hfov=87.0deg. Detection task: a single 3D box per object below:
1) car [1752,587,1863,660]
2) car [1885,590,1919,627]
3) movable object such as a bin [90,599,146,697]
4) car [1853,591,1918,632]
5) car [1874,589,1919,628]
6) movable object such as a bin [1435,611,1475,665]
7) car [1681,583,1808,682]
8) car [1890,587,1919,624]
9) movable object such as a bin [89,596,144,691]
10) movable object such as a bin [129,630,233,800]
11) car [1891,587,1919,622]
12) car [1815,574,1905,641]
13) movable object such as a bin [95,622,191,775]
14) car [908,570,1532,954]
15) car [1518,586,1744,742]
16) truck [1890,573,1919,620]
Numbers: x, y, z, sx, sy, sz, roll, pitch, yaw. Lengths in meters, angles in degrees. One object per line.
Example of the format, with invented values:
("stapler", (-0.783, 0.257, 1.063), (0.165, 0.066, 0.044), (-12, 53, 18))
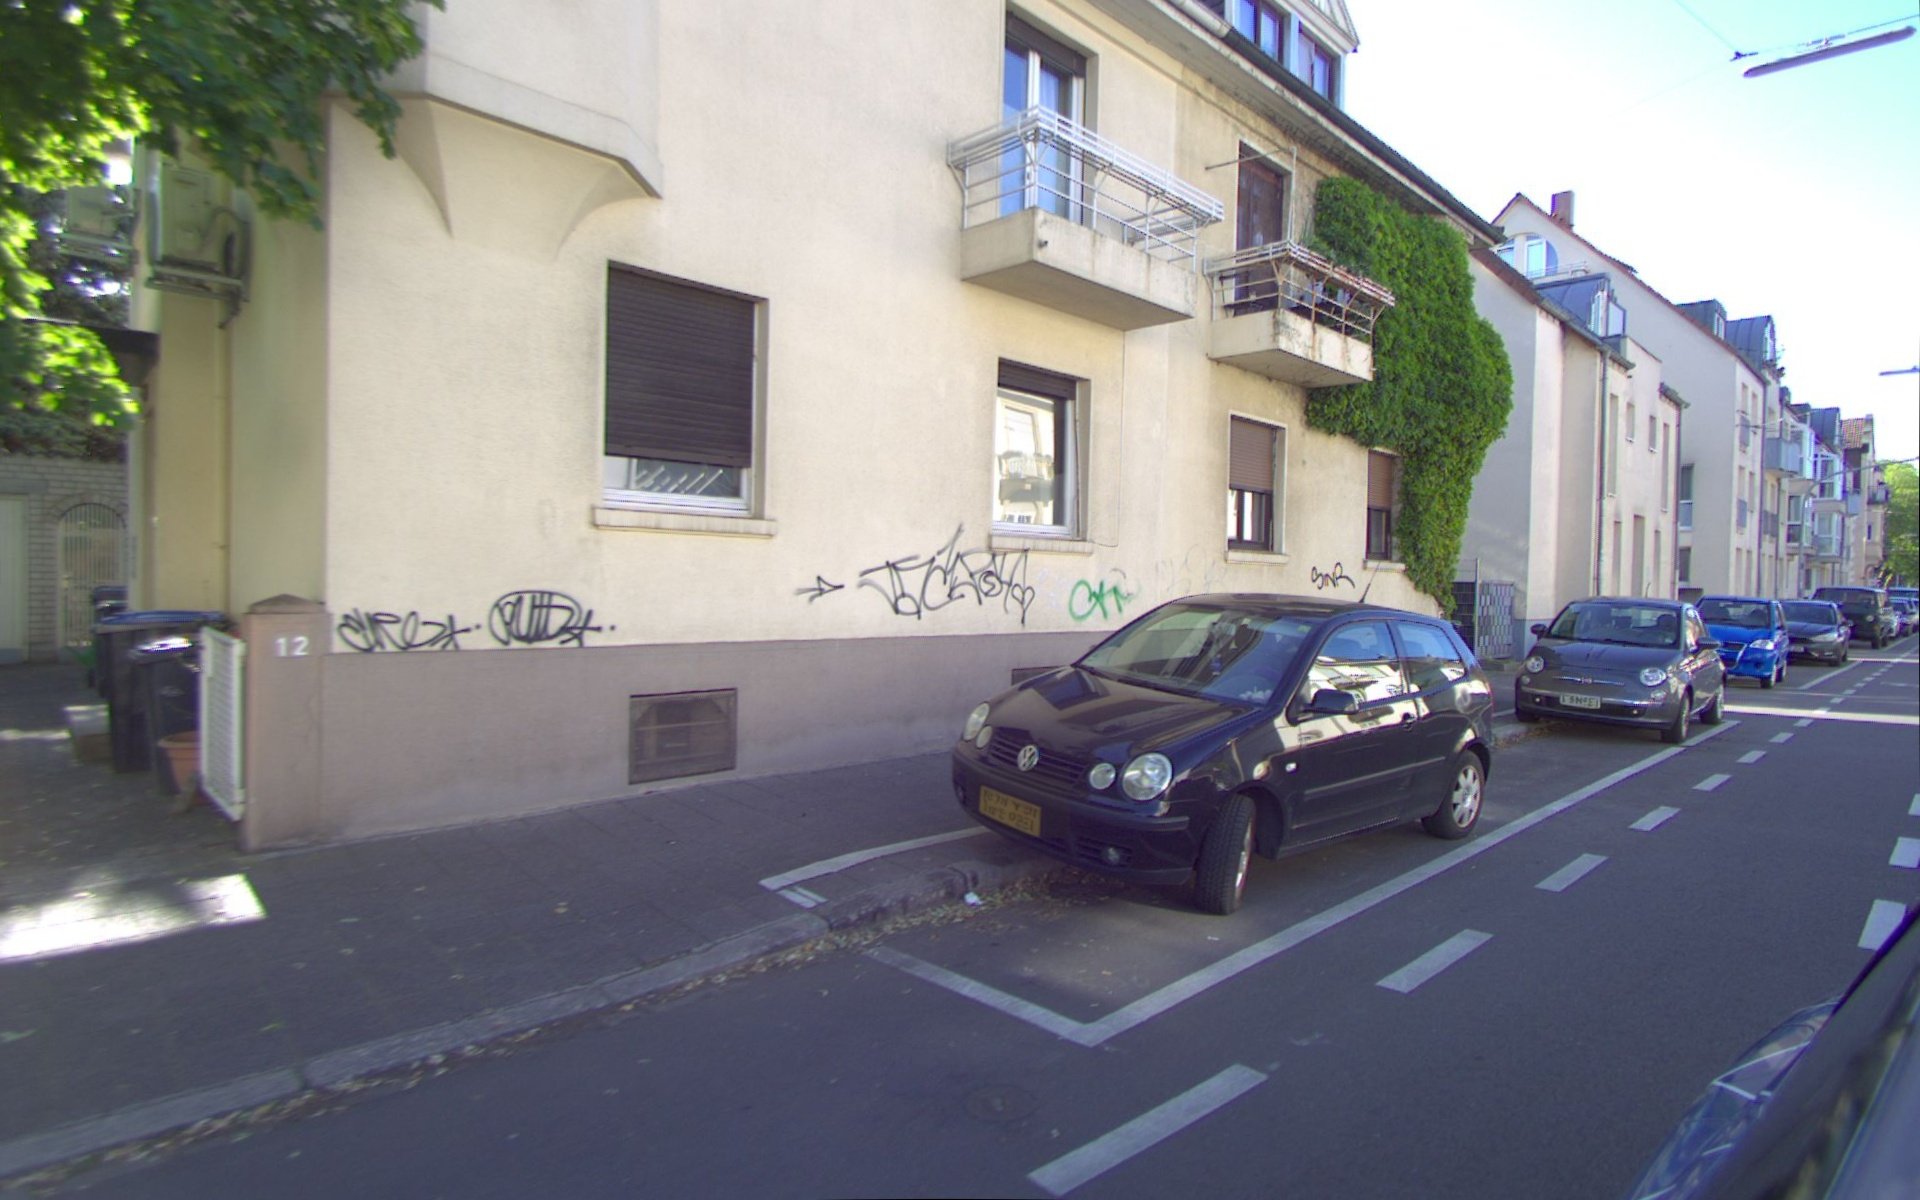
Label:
("car", (20.536, 0.497, 24.457), (1.744, 1.619, 4.363), (0, 0, 44))
("car", (42.728, 0.358, 45.509), (3.310, 1.577, 1.497), (0, 0, -45))
("movable object such as a bin", (-8.477, 0.466, 10.195), (0.429, 0.943, 0.449), (0, 1, -40))
("car", (35.818, 0.405, 39.147), (4.105, 1.510, 1.678), (0, 0, -45))
("car", (39.556, 0.315, 42.477), (3.593, 1.577, 1.554), (0, 0, -45))
("movable object such as a bin", (9.003, 0.684, 18.403), (0.493, 0.927, 0.506), (2, 2, 44))
("car", (14.166, 0.526, 18.220), (1.457, 1.619, 3.241), (0, 0, 44))
("car", (46.019, 0.252, 48.724), (3.923, 1.721, 1.604), (0, 0, -44))
("movable object such as a bin", (-8.832, 0.443, 10.606), (0.429, 0.943, 0.517), (0, 2, -40))
("movable object such as a bin", (-4.858, 0.685, 6.309), (0.489, 0.959, 0.530), (0, 2, -40))
("car", (49.712, 0.197, 52.584), (4.185, 1.768, 1.740), (0, 0, -44))
("car", (29.062, 0.207, 32.630), (4.488, 2.012, 1.907), (0, 0, -45))
("movable object such as a bin", (-5.600, 0.650, 6.943), (0.489, 0.959, 0.530), (0, 2, -40))
("car", (1.687, 0.638, 6.022), (3.702, 1.583, 1.670), (-1, 2, -38))
("car", (7.939, 0.621, 11.858), (1.602, 1.544, 3.493), (0, 0, 44))
("truck", (54.138, -0.189, 56.918), (6.044, 2.508, 2.298), (0, 2, -44))
